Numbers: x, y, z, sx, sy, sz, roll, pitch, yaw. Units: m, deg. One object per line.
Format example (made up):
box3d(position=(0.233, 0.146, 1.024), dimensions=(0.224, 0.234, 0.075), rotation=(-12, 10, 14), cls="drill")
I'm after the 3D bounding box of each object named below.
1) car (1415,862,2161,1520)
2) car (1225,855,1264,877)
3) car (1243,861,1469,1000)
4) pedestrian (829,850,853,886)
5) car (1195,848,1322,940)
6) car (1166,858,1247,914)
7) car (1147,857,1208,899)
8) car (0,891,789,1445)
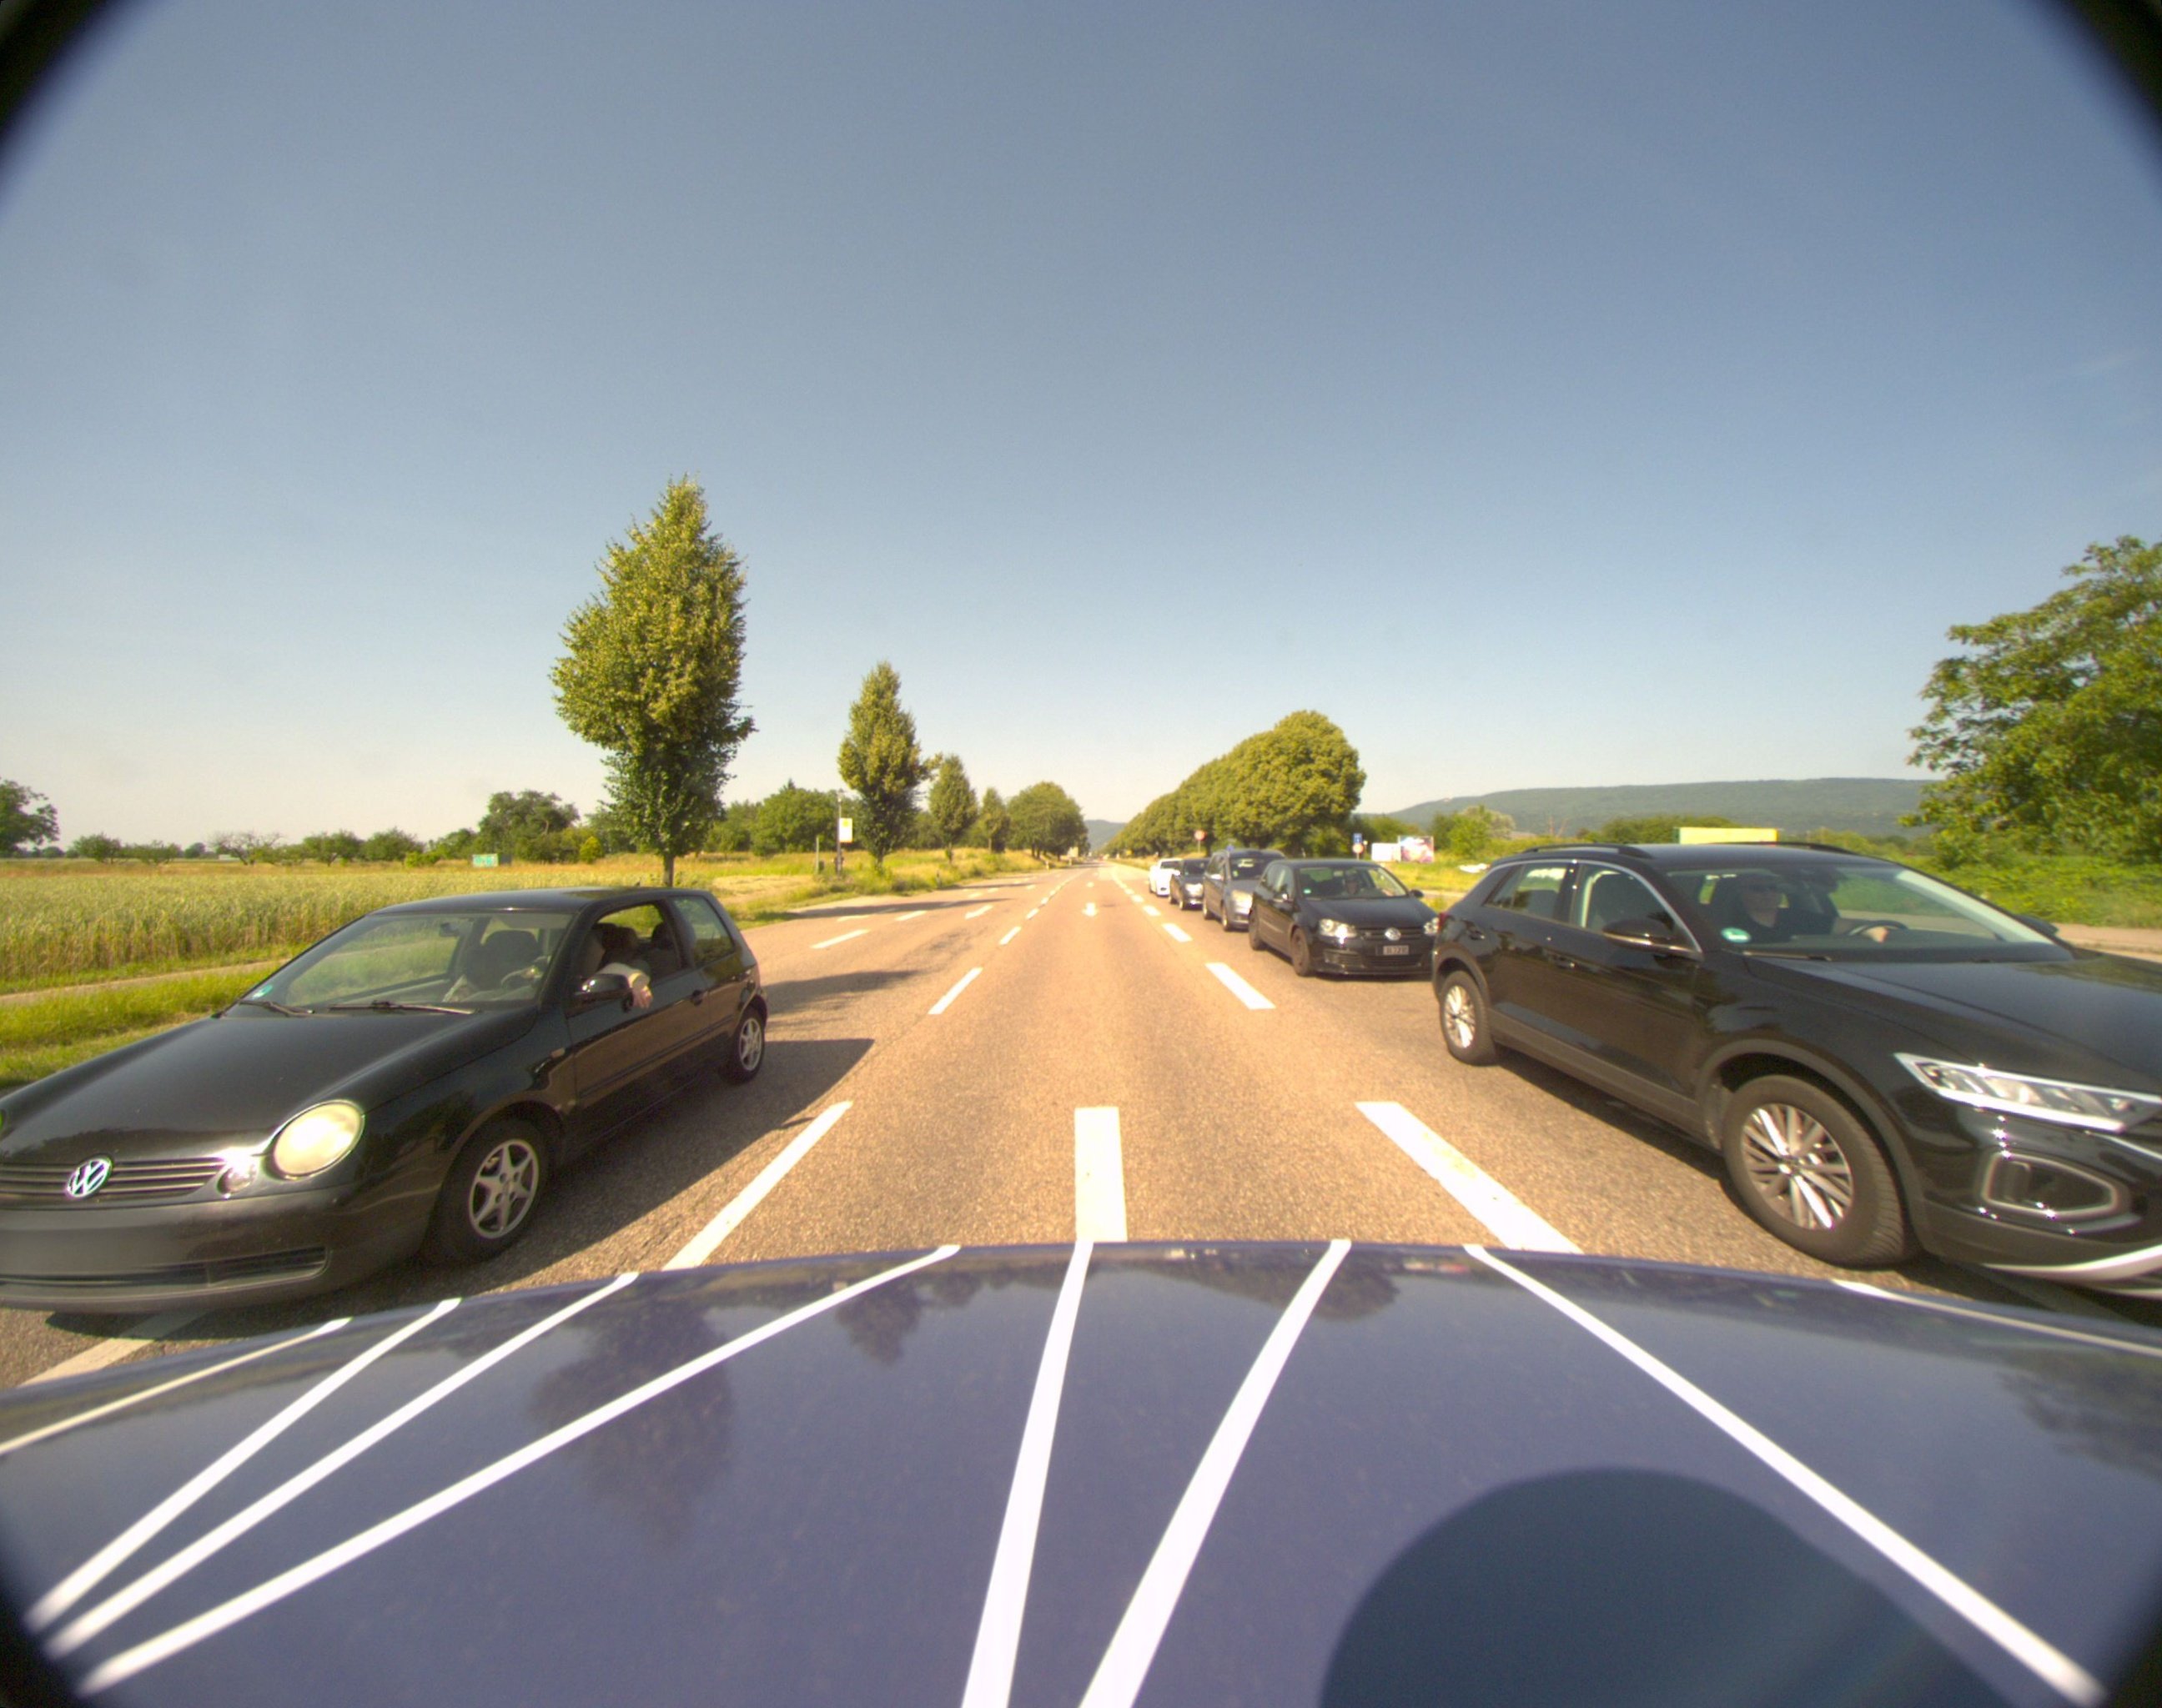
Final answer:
box3d(position=(3.452, 0.849, 3.889), dimensions=(1.733, 1.538, 4.098), rotation=(-1, 0, 1), cls="car")
box3d(position=(11.805, 0.820, 55.113), dimensions=(1.887, 1.506, 4.147), rotation=(-1, 0, -1), cls="car")
box3d(position=(3.465, 0.861, 10.419), dimensions=(1.670, 1.466, 4.098), rotation=(-1, 0, 1), cls="car")
box3d(position=(-12.382, 0.703, 39.257), dimensions=(0.904, 1.828, 1.194), rotation=(0, 0, -1), cls="pedestrian")
box3d(position=(3.614, 0.738, 16.252), dimensions=(1.745, 1.662, 4.357), rotation=(-1, 0, 1), cls="car")
box3d(position=(3.564, 0.858, 22.244), dimensions=(1.719, 1.402, 4.355), rotation=(-1, 0, 1), cls="car")
box3d(position=(3.609, 0.858, 29.170), dimensions=(1.808, 1.417, 4.641), rotation=(-1, 0, 1), cls="car")
box3d(position=(-3.117, 1.030, 4.048), dimensions=(1.629, 1.425, 3.622), rotation=(-2, 0, 1), cls="car")
